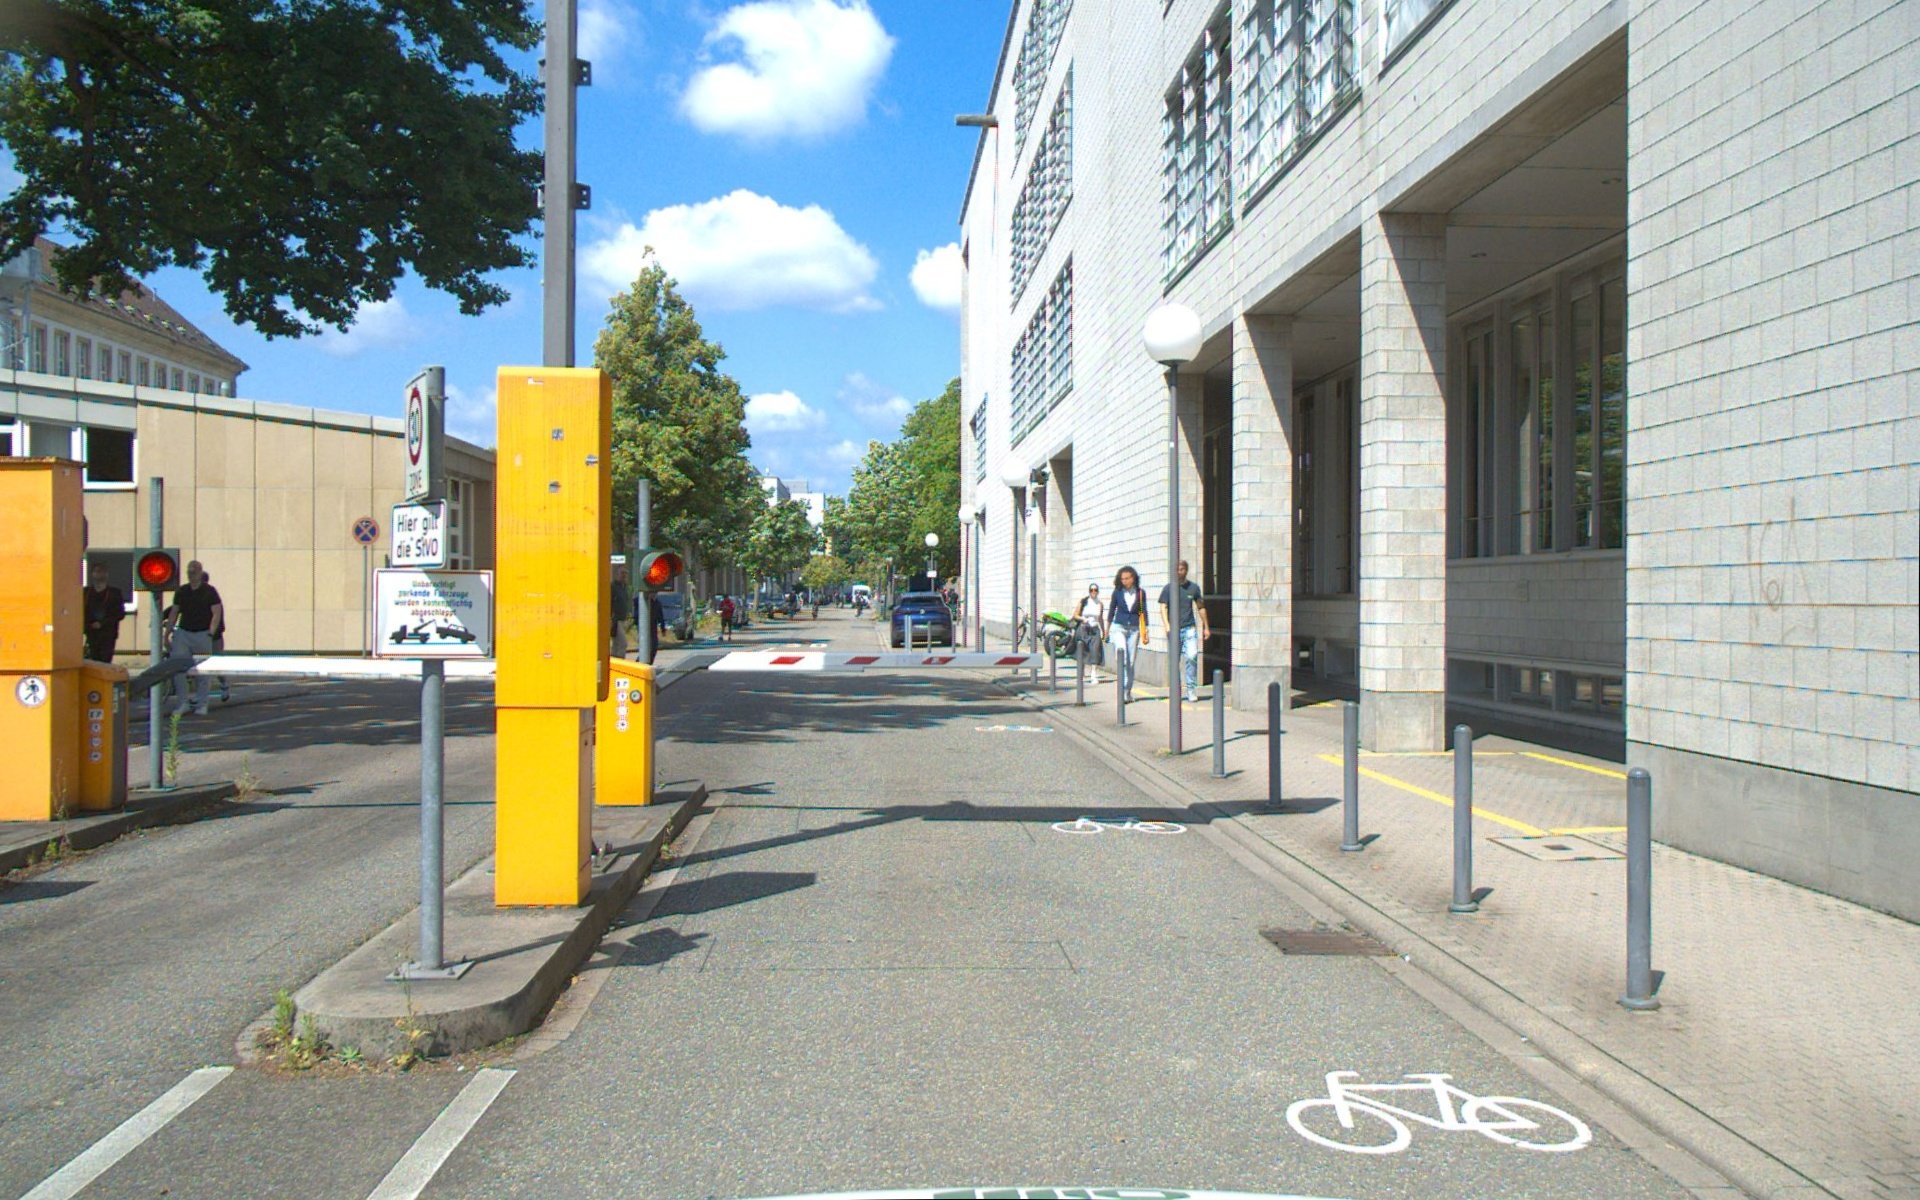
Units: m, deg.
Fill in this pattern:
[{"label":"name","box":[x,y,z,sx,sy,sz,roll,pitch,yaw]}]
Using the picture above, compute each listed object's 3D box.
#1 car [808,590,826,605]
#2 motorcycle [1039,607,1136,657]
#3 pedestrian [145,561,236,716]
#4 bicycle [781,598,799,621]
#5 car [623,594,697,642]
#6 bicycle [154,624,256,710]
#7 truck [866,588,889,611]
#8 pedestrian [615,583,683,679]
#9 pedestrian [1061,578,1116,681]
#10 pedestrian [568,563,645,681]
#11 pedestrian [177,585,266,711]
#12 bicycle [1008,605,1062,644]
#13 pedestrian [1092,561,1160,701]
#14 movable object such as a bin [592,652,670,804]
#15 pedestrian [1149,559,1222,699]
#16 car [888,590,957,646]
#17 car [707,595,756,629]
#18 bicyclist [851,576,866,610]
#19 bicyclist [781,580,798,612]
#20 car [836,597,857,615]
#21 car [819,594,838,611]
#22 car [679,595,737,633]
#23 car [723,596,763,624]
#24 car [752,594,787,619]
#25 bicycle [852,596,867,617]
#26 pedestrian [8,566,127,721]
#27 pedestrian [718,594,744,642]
[{"label":"car","box":[-18.184,-0.334,210.506,1.953,1.751,3.999,0,-2,-1]},{"label":"motorcycle","box":[2.843,0.726,37.051,2.080,1.040,0.659,-2,-2,-2]},{"label":"pedestrian","box":[-9.396,0.452,20.229,0.691,1.841,1.000,0,0,-5]},{"label":"bicycle","box":[-10.438,0.575,101.337,0.969,1.339,2.958,0,-2,-8]},{"label":"car","box":[-10.163,0.591,56.243,1.954,1.573,4.209,0,0,-3]},{"label":"bicycle","box":[-10.240,0.881,22.501,0.632,1.067,1.898,0,1,-4]},{"label":"truck","box":[-7.694,-0.004,154.105,1.955,2.049,3.995,0,-2,-5]},{"label":"pedestrian","box":[-5.475,0.542,29.109,0.887,1.661,0.876,1,-1,-37]},{"label":"pedestrian","box":[2.129,0.479,27.509,0.726,1.661,0.887,-2,1,-5]},{"label":"pedestrian","box":[-6.024,0.371,28.198,0.995,1.959,0.876,1,-1,-37]},{"label":"pedestrian","box":[-9.730,0.619,21.821,0.838,1.614,0.805,0,0,-5]},{"label":"bicycle","box":[2.123,0.691,46.668,1.511,1.085,0.648,-1,0,4]},{"label":"pedestrian","box":[2.210,0.398,22.160,0.681,1.811,1.084,-2,1,-5]},{"label":"movable object such as a bin","box":[-2.057,0.793,10.372,0.407,0.921,0.353,1,0,1]},{"label":"pedestrian","box":[3.011,0.376,22.142,0.752,1.811,0.909,-2,1,-5]},{"label":"car","box":[-1.167,0.507,49.420,1.954,1.573,4.209,0,0,-3]},{"label":"car","box":[-10.768,0.537,78.141,1.954,1.573,4.209,0,0,-3]},{"label":"bicyclist","box":[-6.709,-0.457,109.181,0.968,2.169,1.035,0,-2,-4]},{"label":"bicyclist","box":[-10.421,-0.215,101.200,0.969,1.917,1.034,0,-2,-8]},{"label":"car","box":[-11.816,0.597,172.012,1.953,1.751,3.999,0,-2,-1]},{"label":"car","box":[-15.037,0.315,189.519,1.953,1.751,3.999,0,-2,-1]},{"label":"car","box":[-10.531,0.564,69.353,1.954,1.573,4.209,0,0,-3]},{"label":"car","box":[-12.279,0.540,93.808,1.954,1.573,4.209,0,0,-3]},{"label":"car","box":[-12.229,0.377,106.225,1.954,1.573,4.209,0,0,-3]},{"label":"bicycle","box":[-6.635,0.449,108.860,0.967,1.339,2.961,0,-2,-4]},{"label":"pedestrian","box":[-10.900,0.511,20.230,1.035,1.847,0.805,0,0,-5]},{"label":"pedestrian","box":[-7.917,0.624,57.242,0.877,1.661,0.886,1,-1,-7]}]
